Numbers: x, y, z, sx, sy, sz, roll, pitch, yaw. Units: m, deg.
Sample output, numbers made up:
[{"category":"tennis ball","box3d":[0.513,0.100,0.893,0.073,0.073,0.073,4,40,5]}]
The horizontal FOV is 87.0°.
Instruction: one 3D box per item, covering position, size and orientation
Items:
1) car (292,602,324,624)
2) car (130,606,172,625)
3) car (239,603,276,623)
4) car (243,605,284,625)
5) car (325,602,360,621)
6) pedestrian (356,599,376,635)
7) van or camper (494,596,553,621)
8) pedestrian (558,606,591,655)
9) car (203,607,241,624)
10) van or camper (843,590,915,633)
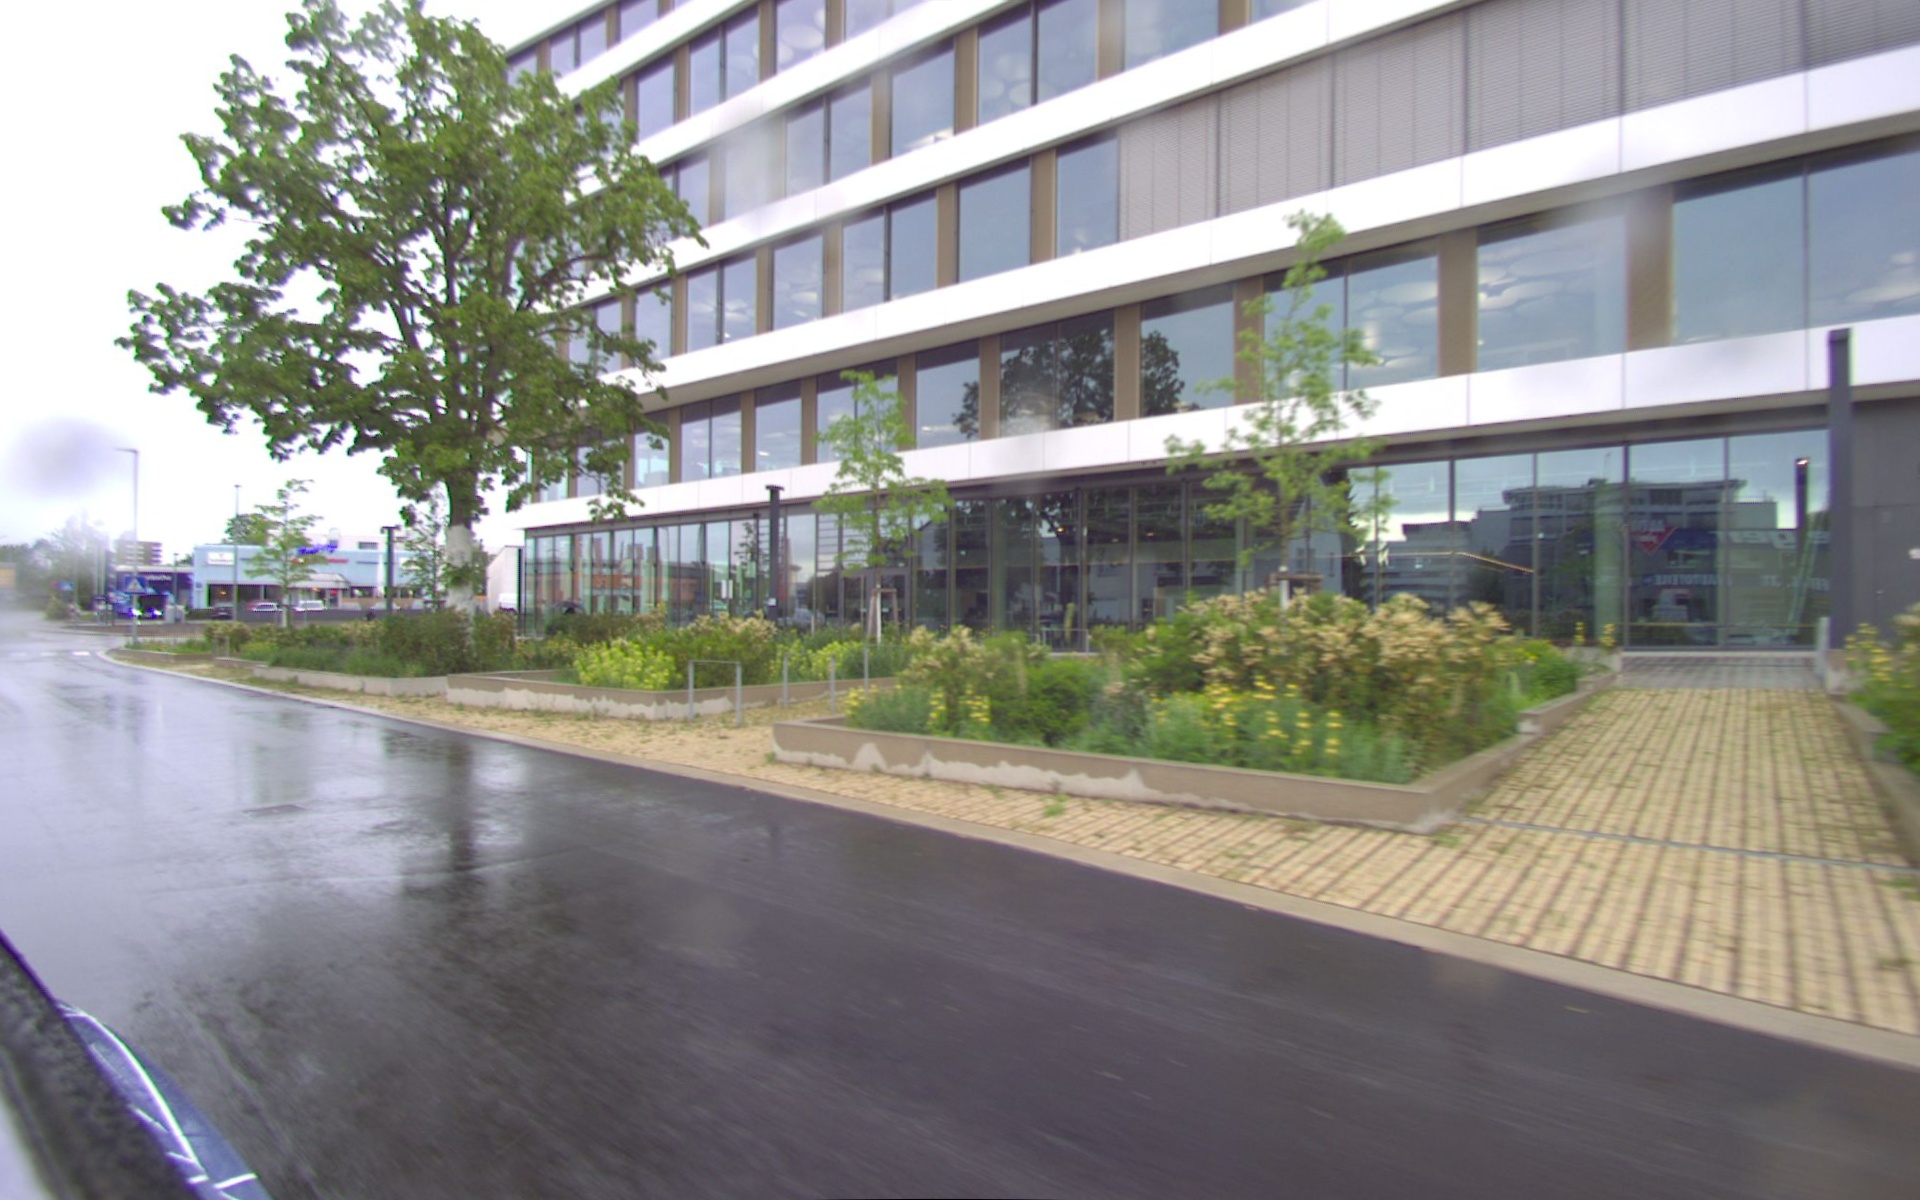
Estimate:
[{"category":"car","box3d":[-48.784,0.979,75.777,1.764,1.564,4.012,0,-1,-29]},{"category":"car","box3d":[-71.824,1.365,89.868,1.888,1.541,4.013,-2,0,-24]},{"category":"car","box3d":[-58.765,1.066,84.696,1.855,1.497,4.013,-3,1,-26]},{"category":"car","box3d":[-50.889,1.077,74.030,1.855,1.305,4.013,-3,1,-26]},{"category":"car","box3d":[-46.702,0.850,76.574,1.855,1.305,4.013,-3,1,-26]},{"category":"pedestrian","box3d":[-34.406,0.986,58.627,0.878,2.029,0.935,0,-1,-22]},{"category":"van or camper","box3d":[-36.149,0.691,83.822,4.306,1.774,1.894,-3,1,-26]},{"category":"pedestrian","box3d":[-14.193,1.115,37.246,0.956,1.716,0.716,1,3,43]},{"category":"car","box3d":[-60.744,1.279,83.368,1.855,1.305,4.013,-3,1,-26]},{"category":"van or camper","box3d":[-6.154,0.867,77.377,5.014,3.111,2.006,-2,0,-29]}]
